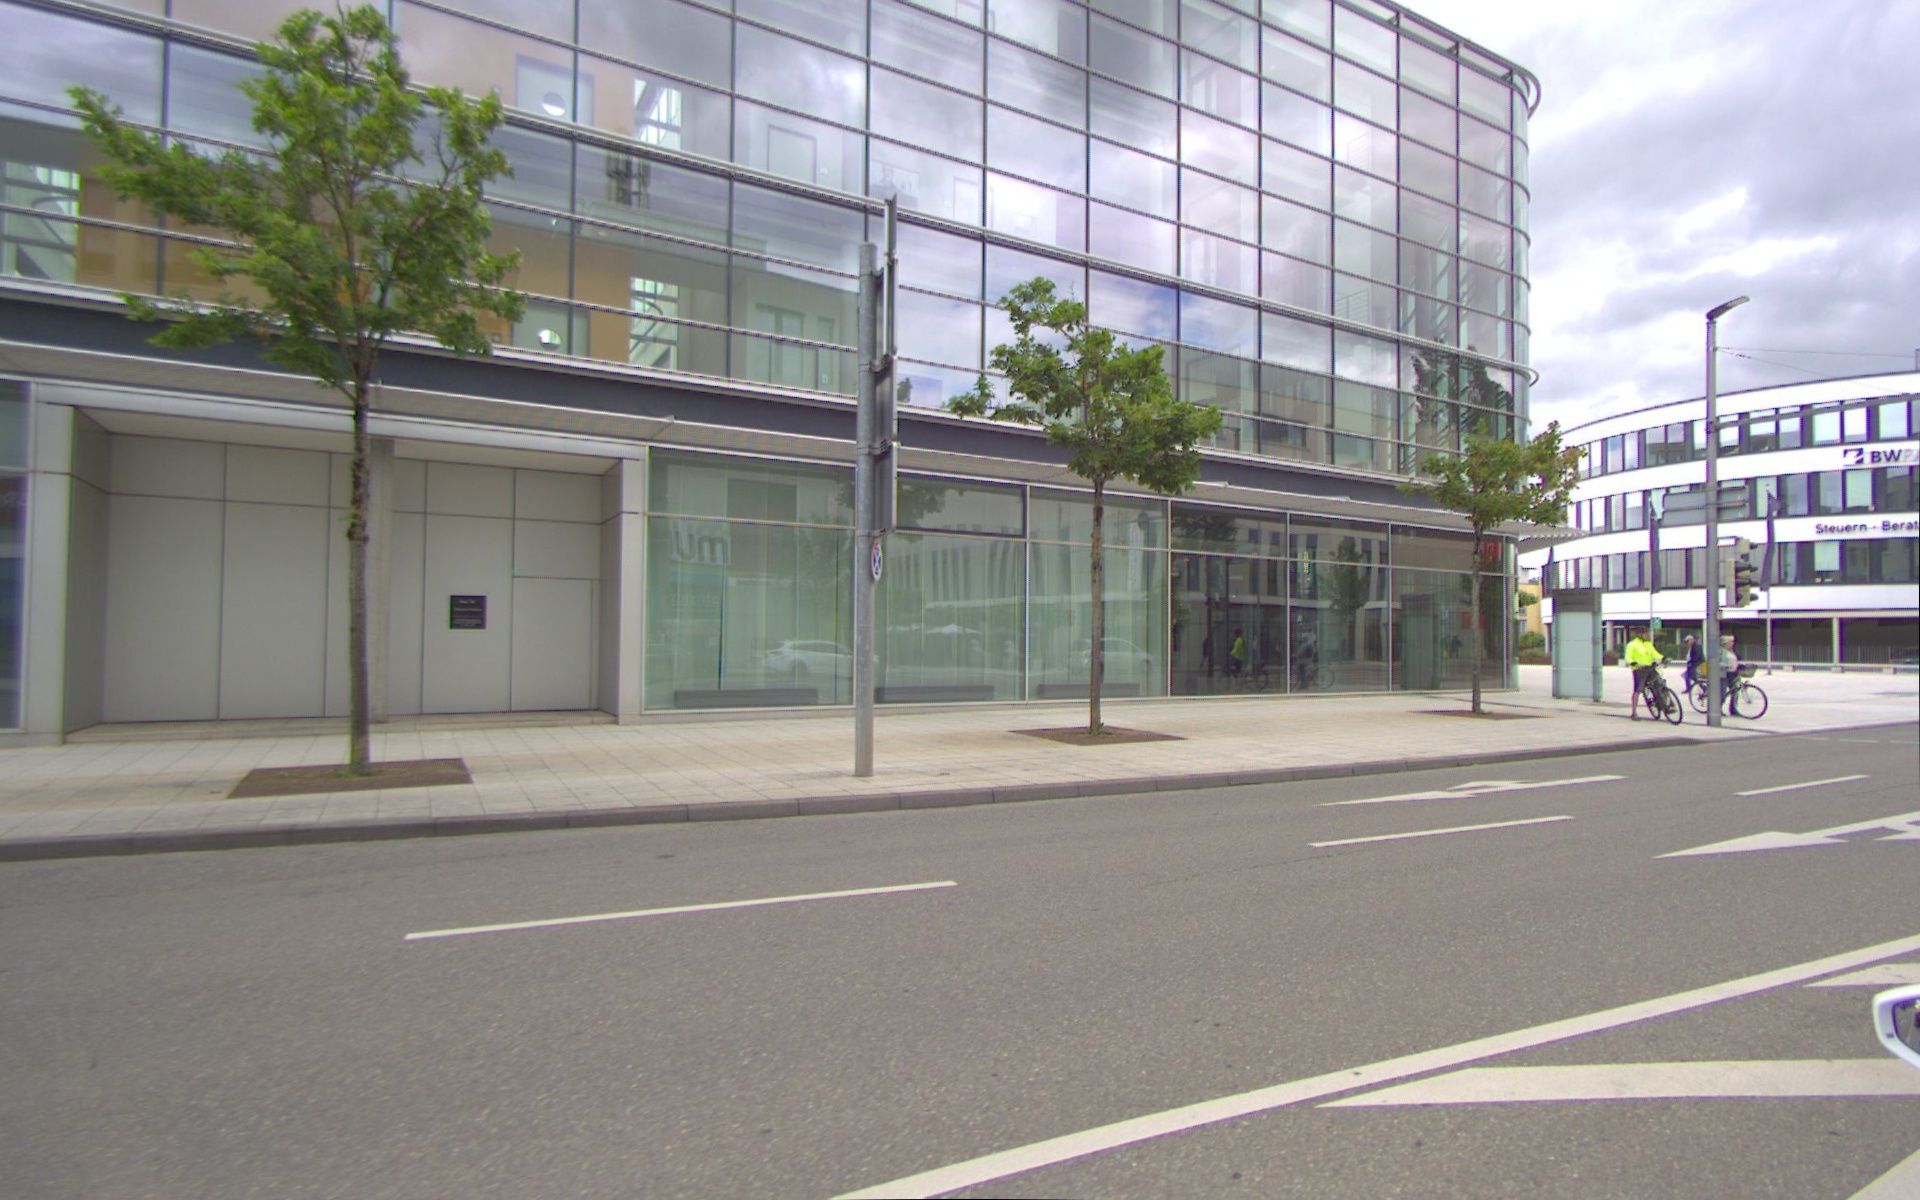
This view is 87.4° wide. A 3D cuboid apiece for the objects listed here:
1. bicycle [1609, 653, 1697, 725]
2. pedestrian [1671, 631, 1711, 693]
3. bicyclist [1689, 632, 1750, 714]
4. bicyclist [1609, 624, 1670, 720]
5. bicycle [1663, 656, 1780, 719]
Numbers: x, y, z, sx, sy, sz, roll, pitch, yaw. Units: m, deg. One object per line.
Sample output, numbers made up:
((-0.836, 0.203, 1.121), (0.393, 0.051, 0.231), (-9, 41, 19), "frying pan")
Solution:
((13.636, 1.717, 19.823), (0.732, 1.222, 2.032), (2, 0, 14), "bicycle")
((23.629, 1.994, 32.474), (0.885, 1.971, 0.750), (1, -1, 22), "pedestrian")
((16.091, 1.533, 21.306), (0.627, 1.671, 0.782), (1, 0, -14), "bicyclist")
((13.434, 1.397, 19.875), (0.732, 1.824, 0.774), (2, 0, 14), "bicyclist")
((16.075, 1.830, 21.270), (0.627, 1.145, 2.000), (1, 0, -14), "bicycle")
